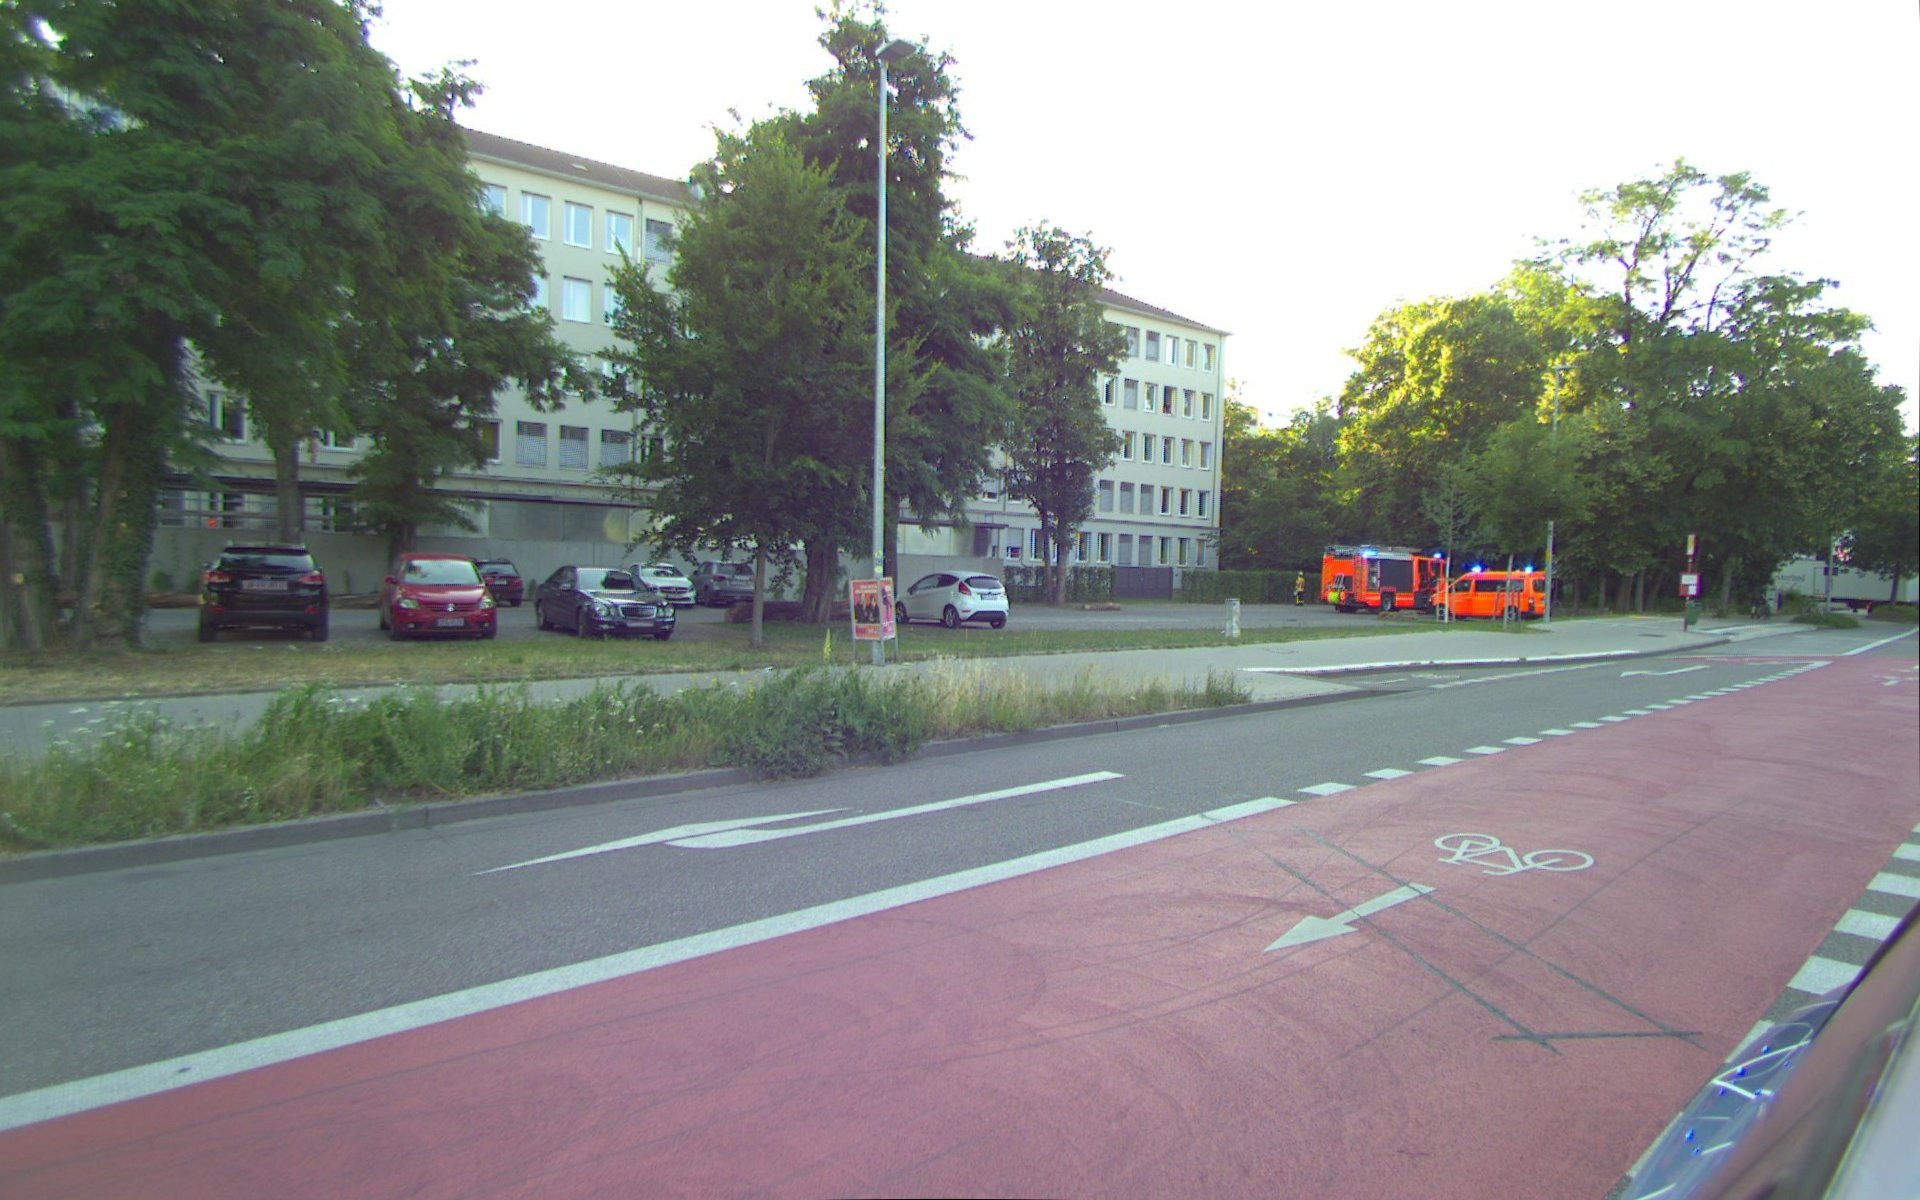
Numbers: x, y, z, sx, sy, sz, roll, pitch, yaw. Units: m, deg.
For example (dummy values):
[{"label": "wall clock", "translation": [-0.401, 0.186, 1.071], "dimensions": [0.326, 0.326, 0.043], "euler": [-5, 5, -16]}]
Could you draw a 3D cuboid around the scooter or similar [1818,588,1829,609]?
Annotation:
[{"label": "scooter or similar", "translation": [54.775, -0.081, 64.186], "dimensions": [0.482, 1.297, 1.123], "euler": [5, 3, 41]}]

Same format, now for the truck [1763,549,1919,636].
[{"label": "truck", "translation": [64.836, -0.581, 70.073], "dimensions": [5.055, 5.642, 15.109], "euler": [1, 2, -6]}]

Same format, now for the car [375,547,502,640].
[{"label": "car", "translation": [-10.154, -0.196, 19.553], "dimensions": [1.751, 1.580, 4.003], "euler": [0, 2, -34]}]

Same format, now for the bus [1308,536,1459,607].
[{"label": "bus", "translation": [20.799, -1.335, 49.549], "dimensions": [7.810, 3.236, 2.999], "euler": [0, 1, -34]}]

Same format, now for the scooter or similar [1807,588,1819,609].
[{"label": "scooter or similar", "translation": [53.311, -0.096, 63.218], "dimensions": [0.482, 1.297, 1.213], "euler": [5, 3, 40]}]

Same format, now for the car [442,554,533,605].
[{"label": "car", "translation": [-14.462, -0.631, 30.875], "dimensions": [1.866, 1.460, 4.001], "euler": [0, 2, -35]}]

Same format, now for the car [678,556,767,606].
[{"label": "car", "translation": [-8.353, -0.692, 35.427], "dimensions": [1.875, 1.636, 4.004], "euler": [-1, 2, -32]}]

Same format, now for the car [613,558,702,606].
[{"label": "car", "translation": [-10.143, -0.627, 33.731], "dimensions": [1.798, 1.494, 4.002], "euler": [0, 1, -33]}]

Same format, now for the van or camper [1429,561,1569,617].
[{"label": "van or camper", "translation": [23.022, -0.518, 43.405], "dimensions": [2.251, 2.272, 4.830], "euler": [0, 1, -35]}]

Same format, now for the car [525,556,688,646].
[{"label": "car", "translation": [-7.446, -0.086, 21.014], "dimensions": [1.866, 1.465, 4.584], "euler": [-2, 6, -37]}]

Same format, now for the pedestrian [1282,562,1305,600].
[{"label": "pedestrian", "translation": [18.367, -1.038, 55.738], "dimensions": [0.810, 2.038, 0.774], "euler": [1, 2, -32]}]

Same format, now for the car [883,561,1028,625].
[{"label": "car", "translation": [-0.191, -0.226, 26.999], "dimensions": [1.876, 1.556, 3.999], "euler": [0, 2, -37]}]

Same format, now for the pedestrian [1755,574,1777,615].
[{"label": "pedestrian", "translation": [40.586, -0.284, 50.967], "dimensions": [0.719, 2.038, 0.688], "euler": [2, 2, 31]}]

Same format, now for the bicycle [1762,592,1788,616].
[{"label": "bicycle", "translation": [40.815, 0.193, 50.687], "dimensions": [0.827, 1.111, 1.945], "euler": [1, 1, 34]}]

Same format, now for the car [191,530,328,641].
[{"label": "car", "translation": [-12.398, -0.282, 17.895], "dimensions": [1.802, 1.715, 3.910], "euler": [0, 1, -36]}]

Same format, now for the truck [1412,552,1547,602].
[{"label": "truck", "translation": [36.660, -1.721, 71.863], "dimensions": [2.703, 3.250, 8.683], "euler": [1, 2, -24]}]
